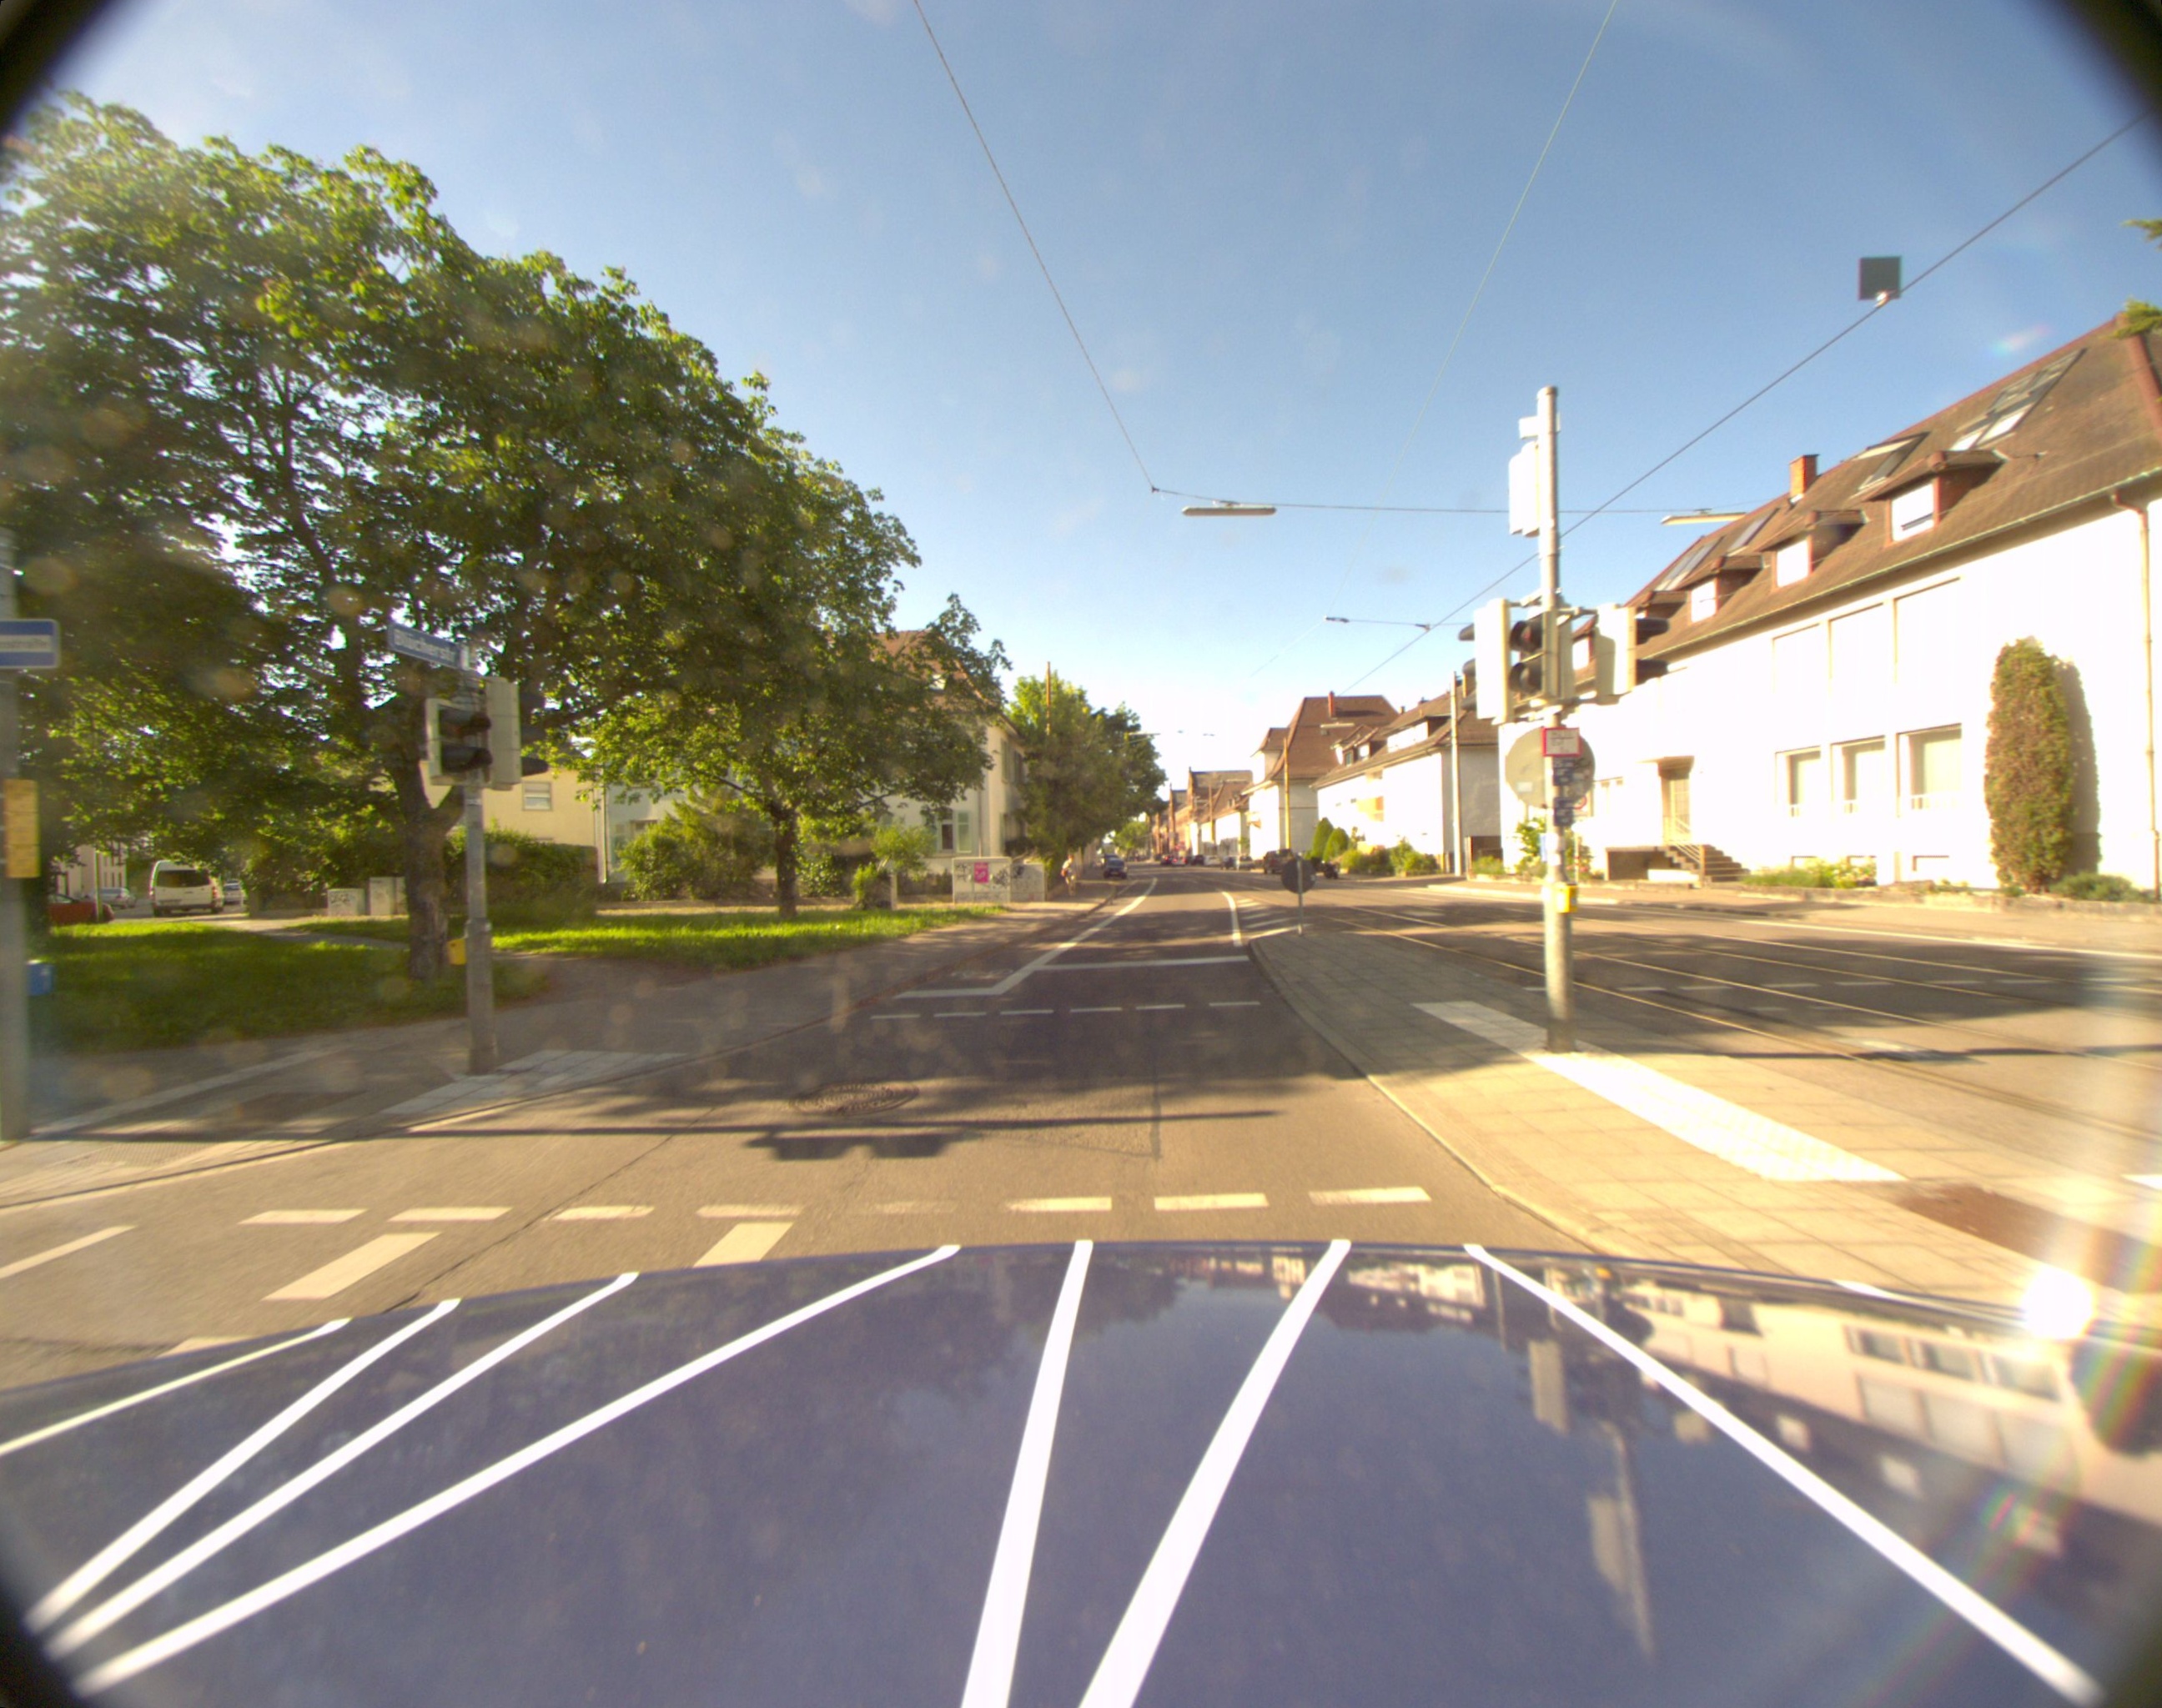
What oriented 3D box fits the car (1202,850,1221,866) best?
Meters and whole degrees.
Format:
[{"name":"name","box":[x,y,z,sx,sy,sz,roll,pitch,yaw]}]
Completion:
[{"name":"car","box":[15.389,0.455,89.812,1.923,1.704,4.002,-3,0,6]}]

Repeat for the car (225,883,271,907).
[{"name":"car","box":[-57.825,2.821,52.799,1.763,1.462,3.886,-1,0,-42]}]

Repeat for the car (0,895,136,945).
[{"name":"car","box":[-35.671,2.238,26.085,1.607,1.525,4.280,-2,-1,-9]}]

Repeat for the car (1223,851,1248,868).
[{"name":"car","box":[16.401,0.564,80.832,1.924,1.704,4.001,-3,0,2]}]

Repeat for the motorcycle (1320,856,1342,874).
[{"name":"motorcycle","box":[14.860,0.646,45.137,0.605,1.040,2.438,-3,0,4]}]

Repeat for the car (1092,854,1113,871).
[{"name":"car","box":[2.184,0.864,75.876,1.704,1.541,4.002,-3,0,7]}]

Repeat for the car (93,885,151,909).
[{"name":"car","box":[-63.868,2.818,50.655,1.763,1.462,3.886,-1,0,-42]}]

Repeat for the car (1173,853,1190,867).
[{"name":"car","box":[13.161,0.737,99.853,1.923,1.704,4.002,-3,0,6]}]

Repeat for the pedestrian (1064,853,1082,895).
[{"name":"pedestrian","box":[-0.309,0.813,30.644,0.655,1.664,0.943,0,0,4]}]

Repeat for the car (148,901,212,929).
[{"name":"car","box":[-54.817,3.668,46.295,1.762,1.462,3.886,-1,0,-38]}]

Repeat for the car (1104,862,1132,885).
[{"name":"car","box":[2.858,1.448,57.794,1.704,1.541,4.002,-3,0,7]}]

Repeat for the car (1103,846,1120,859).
[{"name":"car","box":[3.980,-0.167,98.248,1.704,1.541,4.002,-3,0,7]}]

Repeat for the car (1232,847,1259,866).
[{"name":"car","box":[16.165,0.268,74.832,1.923,1.704,4.001,-3,0,3]}]

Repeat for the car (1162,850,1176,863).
[{"name":"car","box":[13.314,0.374,115.436,1.923,1.704,4.002,-3,0,6]}]

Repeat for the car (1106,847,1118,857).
[{"name":"car","box":[5.500,-0.359,133.086,1.704,1.541,4.002,-3,0,7]}]

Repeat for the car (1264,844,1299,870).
[{"name":"car","box":[15.829,0.218,60.245,1.923,1.889,4.001,-3,0,5]}]

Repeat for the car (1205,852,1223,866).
[{"name":"car","box":[16.791,0.601,95.930,1.923,1.555,4.002,-3,0,6]}]

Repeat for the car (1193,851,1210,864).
[{"name":"car","box":[17.583,0.534,110.738,1.923,1.704,4.001,-4,-1,3]}]

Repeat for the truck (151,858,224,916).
[{"name":"truck","box":[-42.778,1.524,36.468,4.966,2.561,2.004,-2,0,43]}]
